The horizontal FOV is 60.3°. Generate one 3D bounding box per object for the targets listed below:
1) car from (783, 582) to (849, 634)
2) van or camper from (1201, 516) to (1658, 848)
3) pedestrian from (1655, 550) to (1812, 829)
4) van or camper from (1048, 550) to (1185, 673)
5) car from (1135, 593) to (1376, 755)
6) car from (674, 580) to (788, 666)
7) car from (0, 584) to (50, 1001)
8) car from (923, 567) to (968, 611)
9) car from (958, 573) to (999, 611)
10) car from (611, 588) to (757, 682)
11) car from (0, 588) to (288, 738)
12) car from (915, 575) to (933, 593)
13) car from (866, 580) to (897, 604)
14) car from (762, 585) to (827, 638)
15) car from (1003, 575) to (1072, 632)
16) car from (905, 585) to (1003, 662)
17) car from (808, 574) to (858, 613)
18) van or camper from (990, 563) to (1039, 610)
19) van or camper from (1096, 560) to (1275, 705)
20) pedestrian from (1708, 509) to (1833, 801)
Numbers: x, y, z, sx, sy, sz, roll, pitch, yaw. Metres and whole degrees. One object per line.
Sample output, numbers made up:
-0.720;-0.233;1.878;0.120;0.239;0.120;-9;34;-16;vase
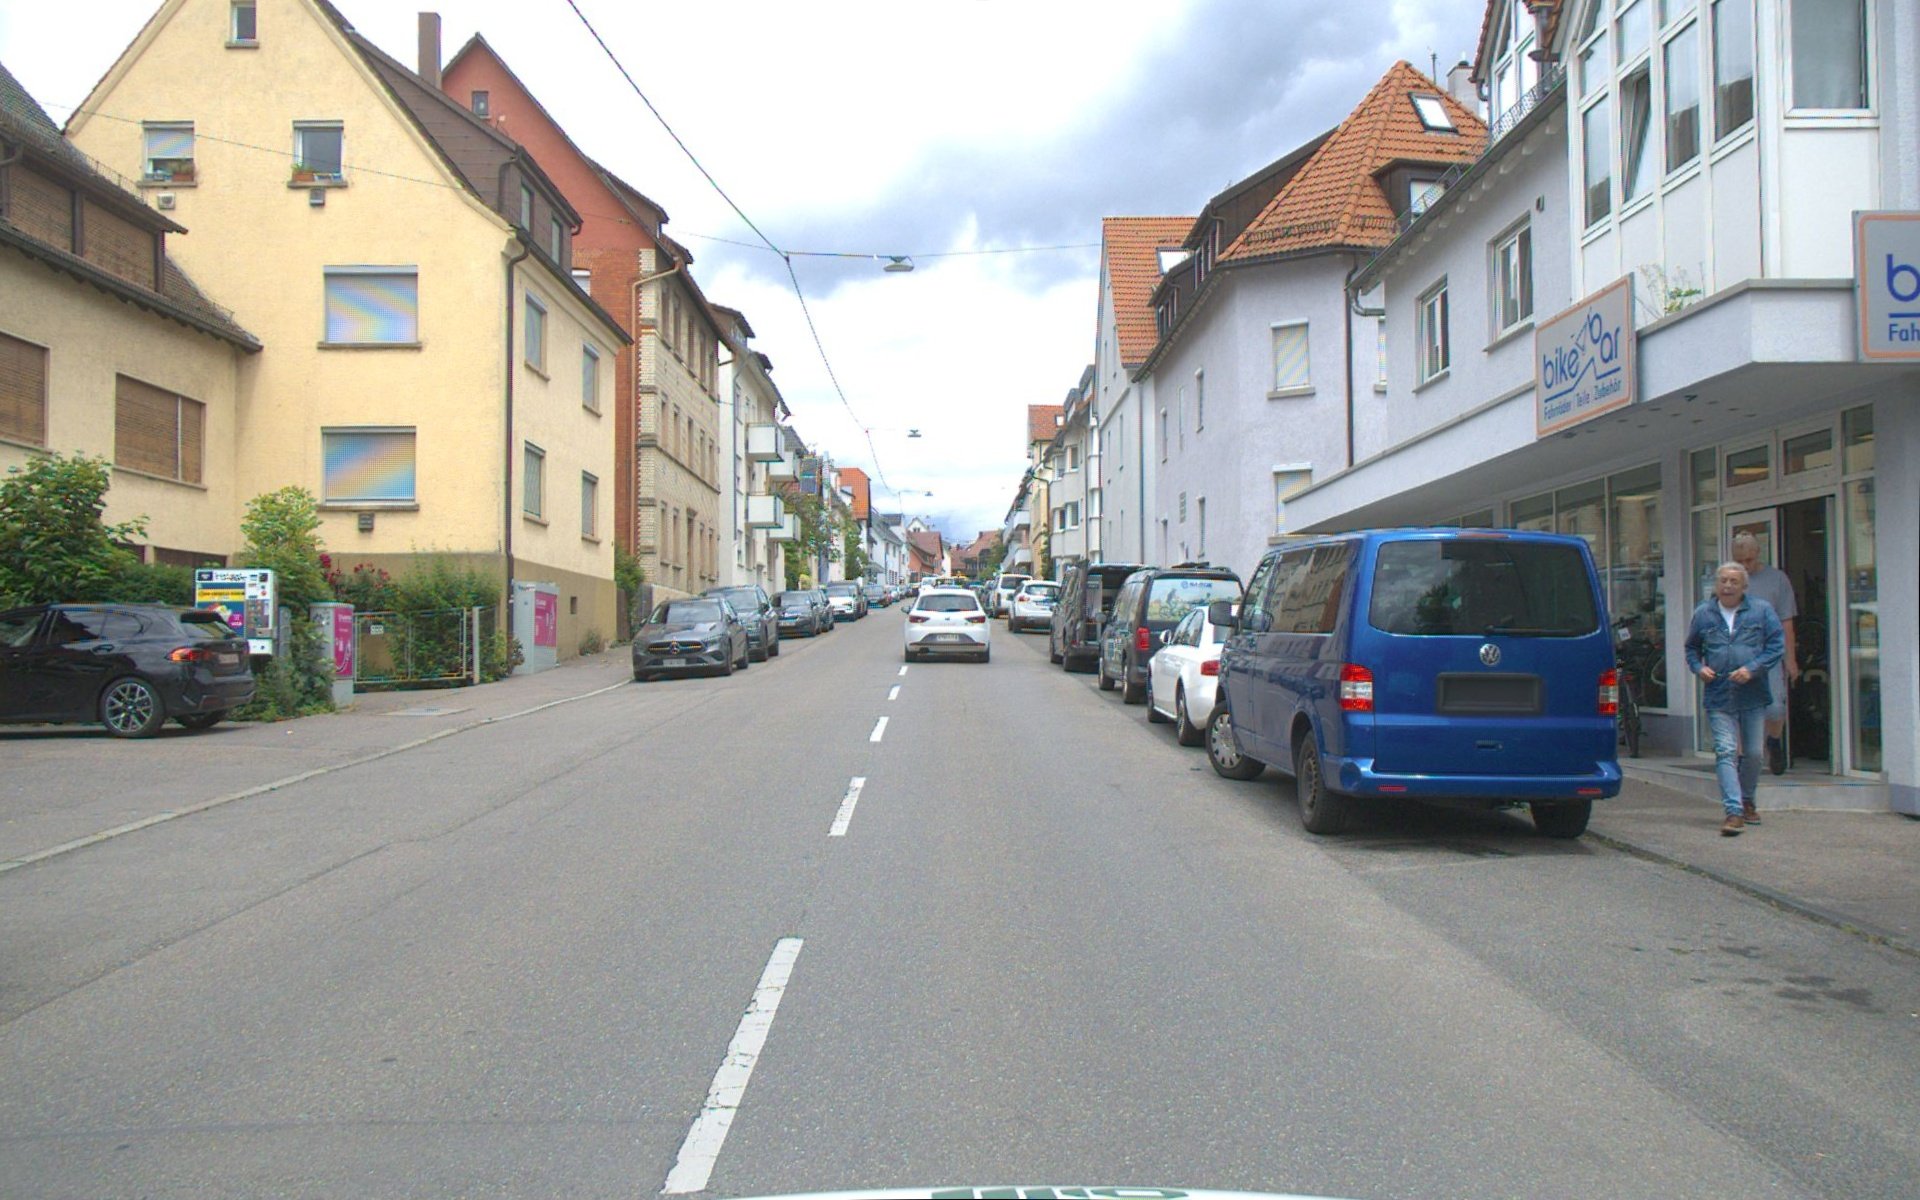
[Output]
-4.922;0.246;57.162;1.953;1.679;4.000;-1;1;-1;car
3.134;0.456;12.195;1.887;1.959;4.830;0;1;-1;van or camper
5.098;0.560;10.896;0.855;1.755;0.617;0;0;34;pedestrian
2.878;0.159;31.758;1.953;2.101;5.944;1;1;-1;van or camper
3.036;0.688;17.934;1.679;1.461;4.638;1;1;-1;car
-5.076;0.462;37.208;1.953;1.679;4.552;-4;1;-2;car
-4.810;0.825;4.730;1.795;1.605;4.034;-4;0;6;car
-0.752;-0.549;80.881;2.109;2.049;3.999;1;0;-2;car
1.019;-0.489;92.978;1.954;2.049;3.997;-1;1;-4;car
-5.140;0.602;31.379;1.953;1.497;4.244;-4;1;0;car
-9.934;0.717;18.293;4.143;1.498;2.000;-2;-2;0;car
-4.206;-1.849;192.430;1.953;2.049;4.000;-1;1;-1;car
-5.522;-0.584;116.757;1.953;1.679;4.178;-1;1;-1;car
-5.235;0.344;52.799;1.609;1.499;4.178;-3;1;-1;car
2.498;0.090;54.003;1.901;1.722;3.999;2;1;-2;car
-0.114;0.435;34.094;1.901;1.464;4.000;0;1;0;car
-5.593;-0.306;73.185;1.953;1.679;4.000;-1;1;-1;car
2.461;-0.620;76.123;1.902;2.090;4.561;0;1;-3;van or camper
3.164;0.396;24.148;1.833;1.860;4.679;1;1;-1;van or camper
5.916;0.383;12.067;0.746;2.049;0.617;0;0;34;pedestrian
